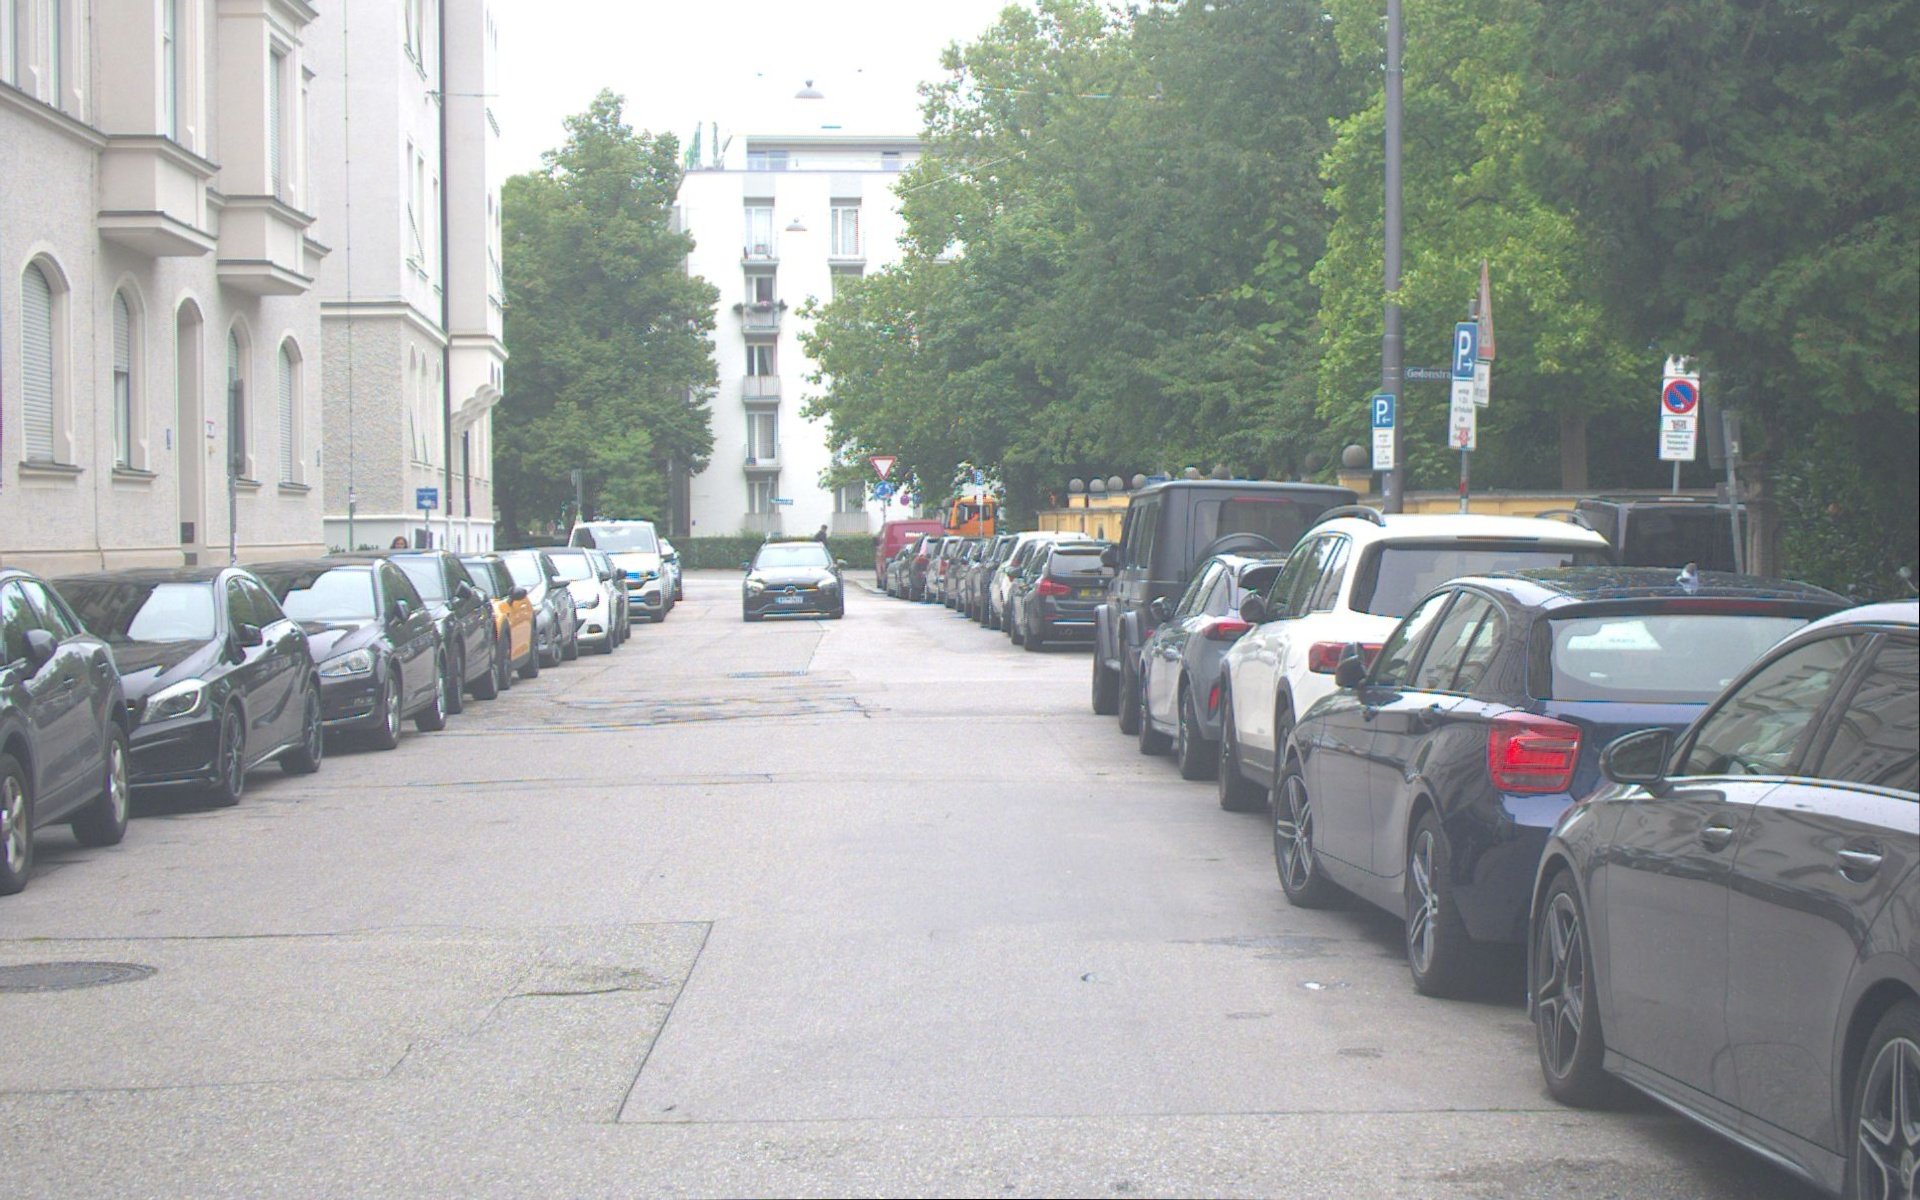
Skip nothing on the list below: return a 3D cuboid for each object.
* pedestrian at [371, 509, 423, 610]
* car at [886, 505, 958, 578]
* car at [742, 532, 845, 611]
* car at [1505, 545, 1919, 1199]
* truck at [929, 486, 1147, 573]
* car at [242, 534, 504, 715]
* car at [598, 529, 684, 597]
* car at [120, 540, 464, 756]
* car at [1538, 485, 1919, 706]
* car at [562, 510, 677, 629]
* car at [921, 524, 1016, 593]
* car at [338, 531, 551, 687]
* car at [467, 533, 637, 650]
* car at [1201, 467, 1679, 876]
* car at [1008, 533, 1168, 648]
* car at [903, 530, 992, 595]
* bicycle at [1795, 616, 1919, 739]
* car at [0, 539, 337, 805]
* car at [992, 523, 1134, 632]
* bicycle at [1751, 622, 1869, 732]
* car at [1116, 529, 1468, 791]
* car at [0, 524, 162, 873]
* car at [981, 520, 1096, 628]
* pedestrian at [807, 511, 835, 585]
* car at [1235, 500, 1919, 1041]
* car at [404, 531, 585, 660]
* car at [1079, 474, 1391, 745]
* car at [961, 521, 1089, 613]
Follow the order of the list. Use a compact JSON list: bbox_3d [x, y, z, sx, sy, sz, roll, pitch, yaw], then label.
[{"bbox_3d":[-9.433,-0.686,57.620,0.792,1.673,0.700,0,1,-5],"label":"pedestrian"},{"bbox_3d":[-1.043,-1.653,96.138,1.836,1.920,4.005,3,2,1],"label":"car"},{"bbox_3d":[-3.158,-0.560,64.623,1.874,1.423,4.410,0,1,-4],"label":"car"},{"bbox_3d":[2.515,0.649,7.741,1.683,1.499,4.019,1,1,-4],"label":"car"},{"bbox_3d":[2.907,-2.656,129.114,7.668,3.230,2.900,0,1,-14],"label":"truck"},{"bbox_3d":[-5.421,0.177,32.192,1.753,1.494,4.019,-2,2,-1],"label":"car"},{"bbox_3d":[-8.321,-0.985,89.967,2.015,1.628,4.414,-3,2,-3],"label":"car"},{"bbox_3d":[-5.116,0.307,26.888,1.836,1.431,4.245,-3,2,-1],"label":"car"},{"bbox_3d":[7.939,-0.082,32.487,4.528,1.943,1.904,-1,3,-7],"label":"car"},{"bbox_3d":[-6.529,-0.630,66.345,1.886,2.120,4.707,-3,2,-3],"label":"car"},{"bbox_3d":[0.169,-0.968,80.020,1.838,1.513,3.948,1,1,-5],"label":"car"},{"bbox_3d":[-5.546,0.052,37.382,1.640,1.494,3.972,-3,2,0],"label":"car"},{"bbox_3d":[-5.621,-0.157,47.849,1.836,1.433,4.275,-3,2,-1],"label":"car"},{"bbox_3d":[2.311,0.295,17.659,1.723,1.763,4.413,3,1,-1],"label":"car"},{"bbox_3d":[1.647,-0.141,45.490,1.838,1.408,4.343,1,1,-1],"label":"car"},{"bbox_3d":[-0.330,-0.913,84.193,1.838,1.513,3.948,1,1,-5],"label":"car"},{"bbox_3d":[6.103,0.516,23.366,0.513,0.779,1.354,0,1,0],"label":"bicycle"},{"bbox_3d":[-5.205,0.373,21.764,1.833,1.429,4.554,-2,2,-2],"label":"car"},{"bbox_3d":[1.484,-0.342,50.783,1.652,1.513,3.796,1,1,-5],"label":"car"},{"bbox_3d":[6.123,0.545,24.808,0.513,0.732,1.354,0,1,0],"label":"bicycle"},{"bbox_3d":[2.092,0.341,22.621,1.722,1.513,3.631,3,1,-3],"label":"car"},{"bbox_3d":[-5.225,0.438,16.813,1.770,1.513,4.386,-3,2,-3],"label":"car"},{"bbox_3d":[1.234,-0.429,55.509,1.513,1.656,3.675,1,1,-4],"label":"car"},{"bbox_3d":[-4.304,-1.602,106.590,0.842,2.277,0.843,0,1,0],"label":"pedestrian"},{"bbox_3d":[2.253,0.465,12.664,1.750,1.605,4.425,2,2,-4],"label":"car"},{"bbox_3d":[-5.766,-0.075,42.952,1.726,1.494,3.930,-1,1,-1],"label":"car"},{"bbox_3d":[2.104,-0.013,27.625,1.950,1.947,4.666,1,2,-2],"label":"car"},{"bbox_3d":[1.116,-0.584,60.696,1.838,1.546,3.948,1,1,-5],"label":"car"}]
